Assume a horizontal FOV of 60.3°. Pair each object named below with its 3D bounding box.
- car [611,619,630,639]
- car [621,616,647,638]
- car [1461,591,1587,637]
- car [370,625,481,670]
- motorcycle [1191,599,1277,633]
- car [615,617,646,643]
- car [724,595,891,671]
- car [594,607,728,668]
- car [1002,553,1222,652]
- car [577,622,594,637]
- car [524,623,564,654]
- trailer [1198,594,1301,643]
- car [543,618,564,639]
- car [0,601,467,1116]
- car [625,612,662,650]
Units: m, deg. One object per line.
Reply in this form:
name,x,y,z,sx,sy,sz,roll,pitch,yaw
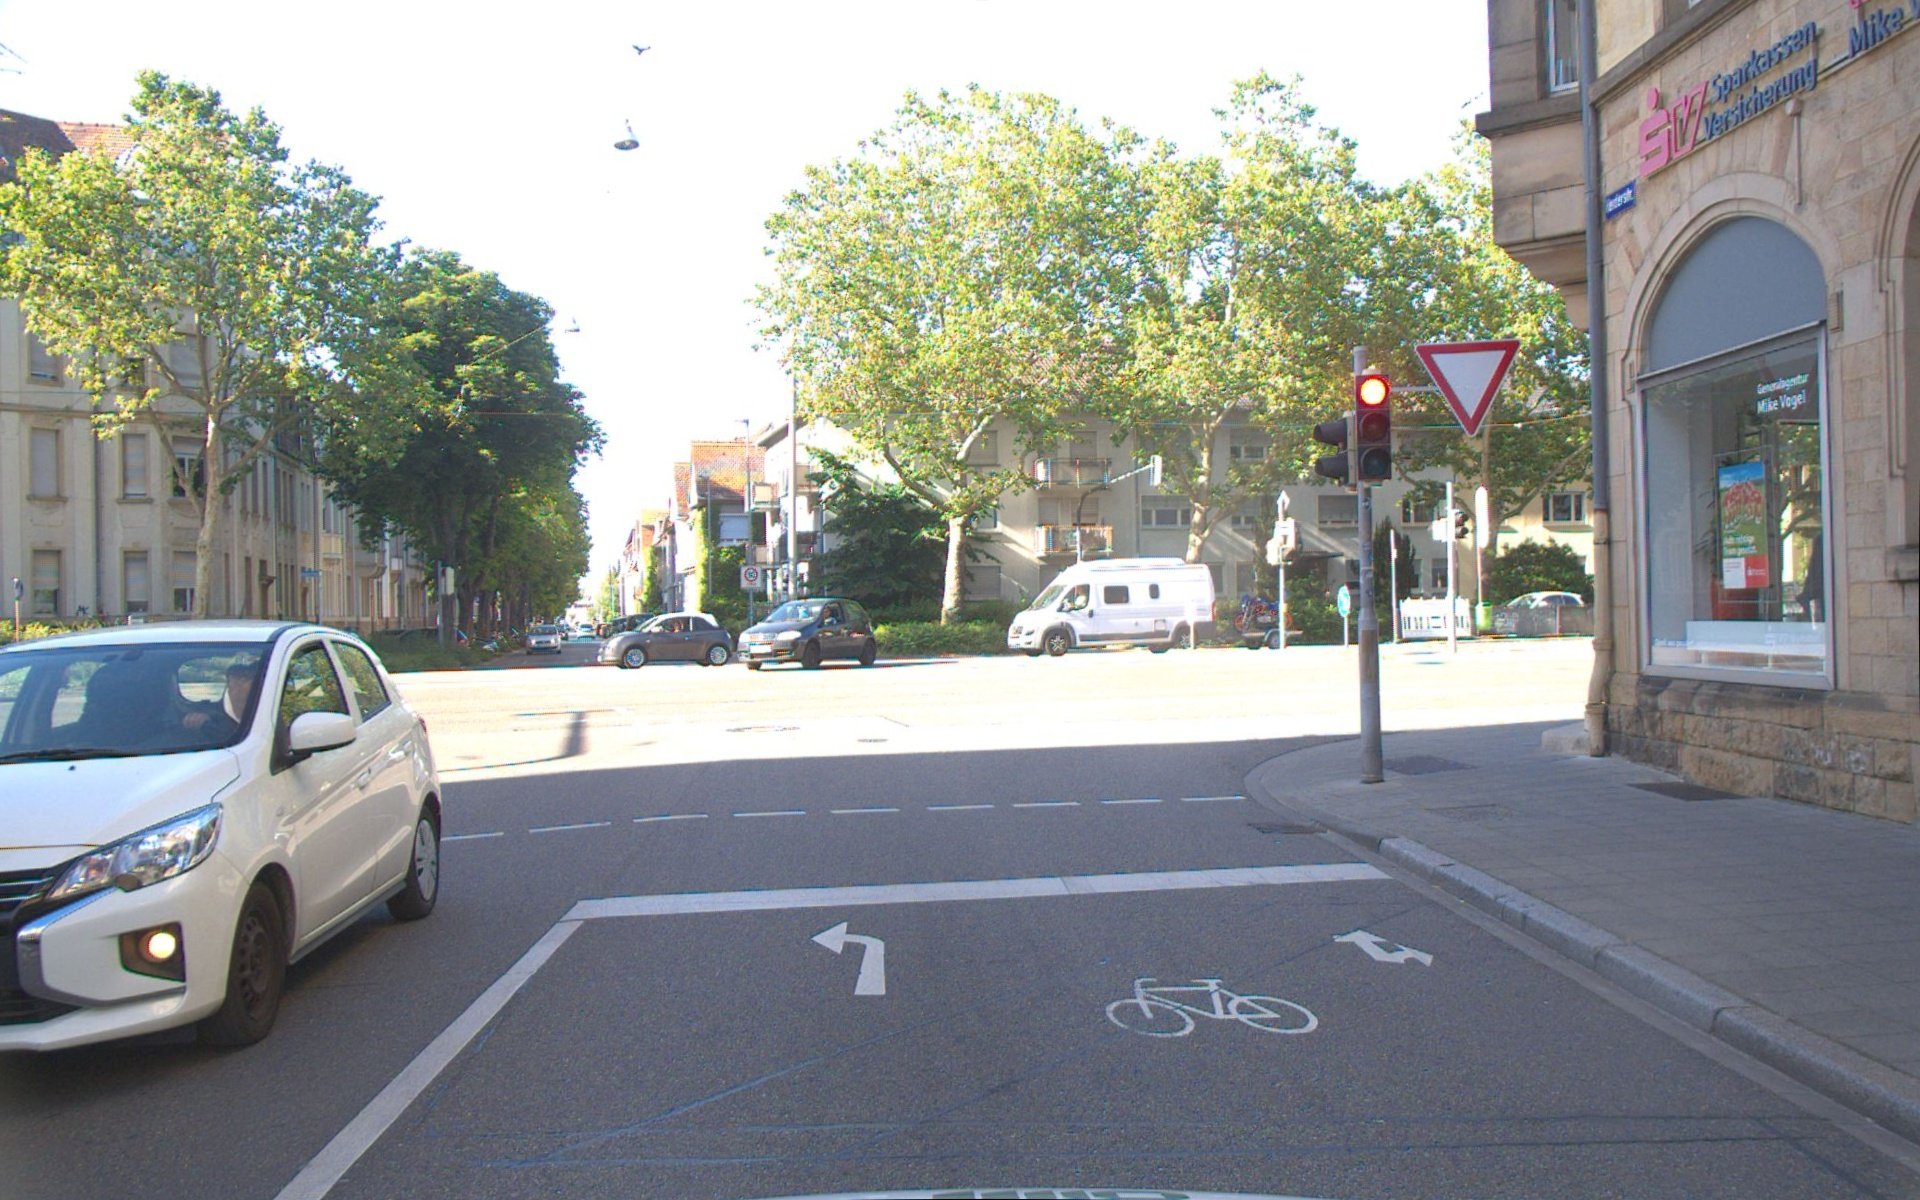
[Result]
car,-29.878,2.516,145.540,1.610,1.661,3.271,-2,0,-11
car,-22.804,1.851,115.612,1.492,1.516,2.841,0,-1,-17
car,17.574,0.430,51.531,3.602,1.378,1.596,0,-1,-24
car,-20.430,1.796,63.259,3.928,1.512,1.672,-2,0,-20
motorcycle,10.323,0.597,62.382,2.818,1.199,1.471,-2,0,-17
car,-24.938,2.252,124.990,1.961,1.865,3.982,0,-1,-16
car,-3.202,0.673,35.532,1.622,1.476,3.994,-2,0,28
car,-8.147,1.009,45.086,3.333,1.513,1.514,-2,0,-23
car,4.344,0.041,47.248,5.949,2.613,1.989,-2,0,-19
car,-39.218,3.053,173.173,1.644,1.509,3.512,0,-1,-11
car,-21.715,1.981,86.240,1.960,1.471,3.984,-2,0,-15
trailer,8.497,0.519,48.526,2.699,1.334,1.263,-2,0,-20
car,-34.660,2.431,141.094,1.519,1.661,3.225,-2,0,-11
car,-3.252,0.781,6.752,1.593,1.498,3.796,-2,0,-5
car,-18.061,1.765,94.417,1.957,2.049,3.990,-2,0,-10
